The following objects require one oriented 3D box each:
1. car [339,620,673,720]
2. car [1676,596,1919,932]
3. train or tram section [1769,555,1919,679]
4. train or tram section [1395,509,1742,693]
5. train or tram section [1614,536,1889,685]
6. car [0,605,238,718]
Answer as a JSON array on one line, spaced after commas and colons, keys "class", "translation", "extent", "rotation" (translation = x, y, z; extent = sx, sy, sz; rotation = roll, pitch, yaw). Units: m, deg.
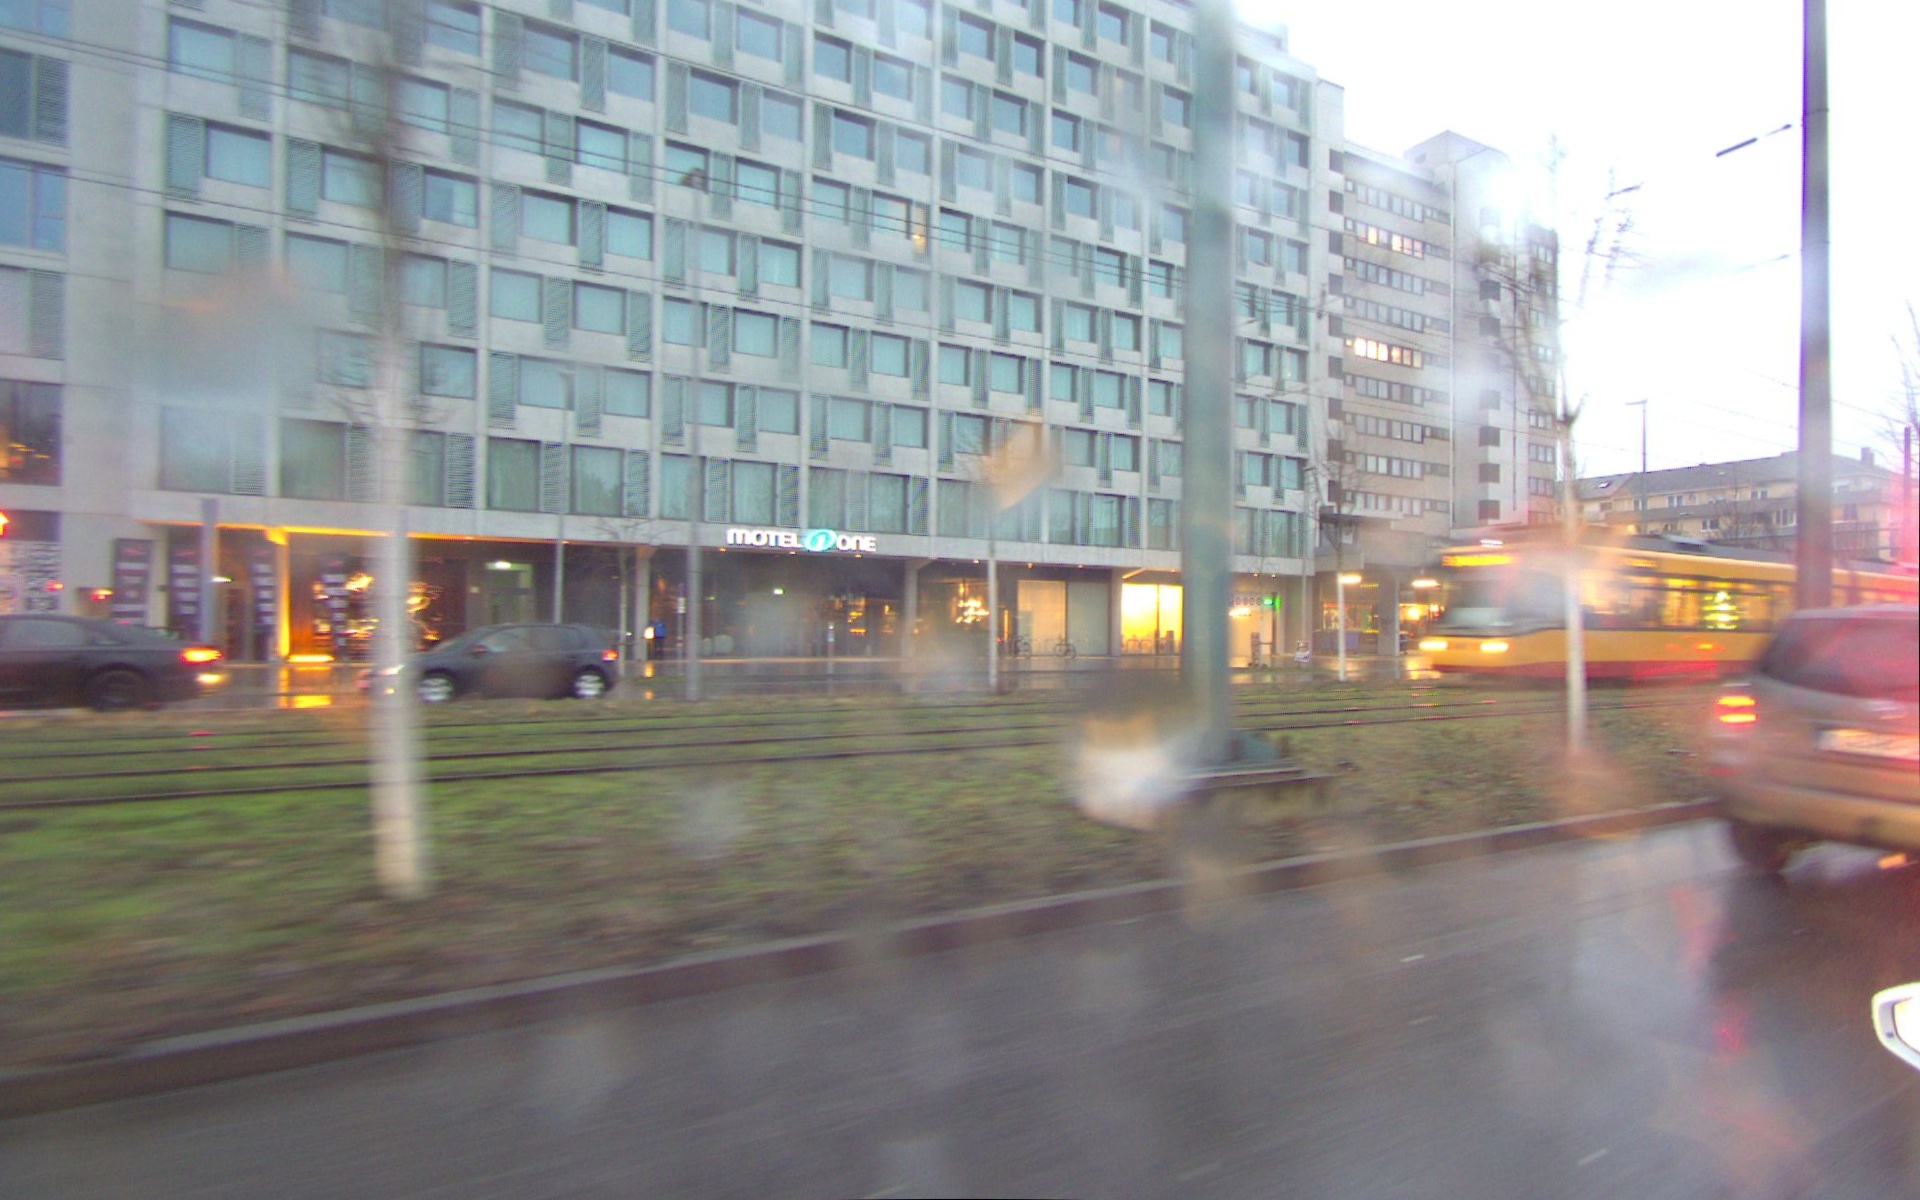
[{"class": "car", "translation": [-7.919, 1.141, 17.902], "extent": [5.062, 1.481, 1.973], "rotation": [2, -1, -45]}, {"class": "car", "translation": [6.259, 0.844, 6.012], "extent": [3.953, 1.615, 1.751], "rotation": [2, 0, -30]}, {"class": "train or tram section", "translation": [29.666, 0.651, 32.171], "extent": [9.051, 3.550, 2.829], "rotation": [2, -2, -31]}, {"class": "train or tram section", "translation": [14.057, 0.175, 22.921], "extent": [9.051, 3.550, 2.829], "rotation": [2, -2, -31]}, {"class": "train or tram section", "translation": [21.854, 0.416, 27.553], "extent": [9.051, 3.550, 2.829], "rotation": [2, -2, -31]}, {"class": "car", "translation": [-13.491, 0.829, 14.265], "extent": [5.035, 1.481, 1.984], "rotation": [2, 0, -30]}]
